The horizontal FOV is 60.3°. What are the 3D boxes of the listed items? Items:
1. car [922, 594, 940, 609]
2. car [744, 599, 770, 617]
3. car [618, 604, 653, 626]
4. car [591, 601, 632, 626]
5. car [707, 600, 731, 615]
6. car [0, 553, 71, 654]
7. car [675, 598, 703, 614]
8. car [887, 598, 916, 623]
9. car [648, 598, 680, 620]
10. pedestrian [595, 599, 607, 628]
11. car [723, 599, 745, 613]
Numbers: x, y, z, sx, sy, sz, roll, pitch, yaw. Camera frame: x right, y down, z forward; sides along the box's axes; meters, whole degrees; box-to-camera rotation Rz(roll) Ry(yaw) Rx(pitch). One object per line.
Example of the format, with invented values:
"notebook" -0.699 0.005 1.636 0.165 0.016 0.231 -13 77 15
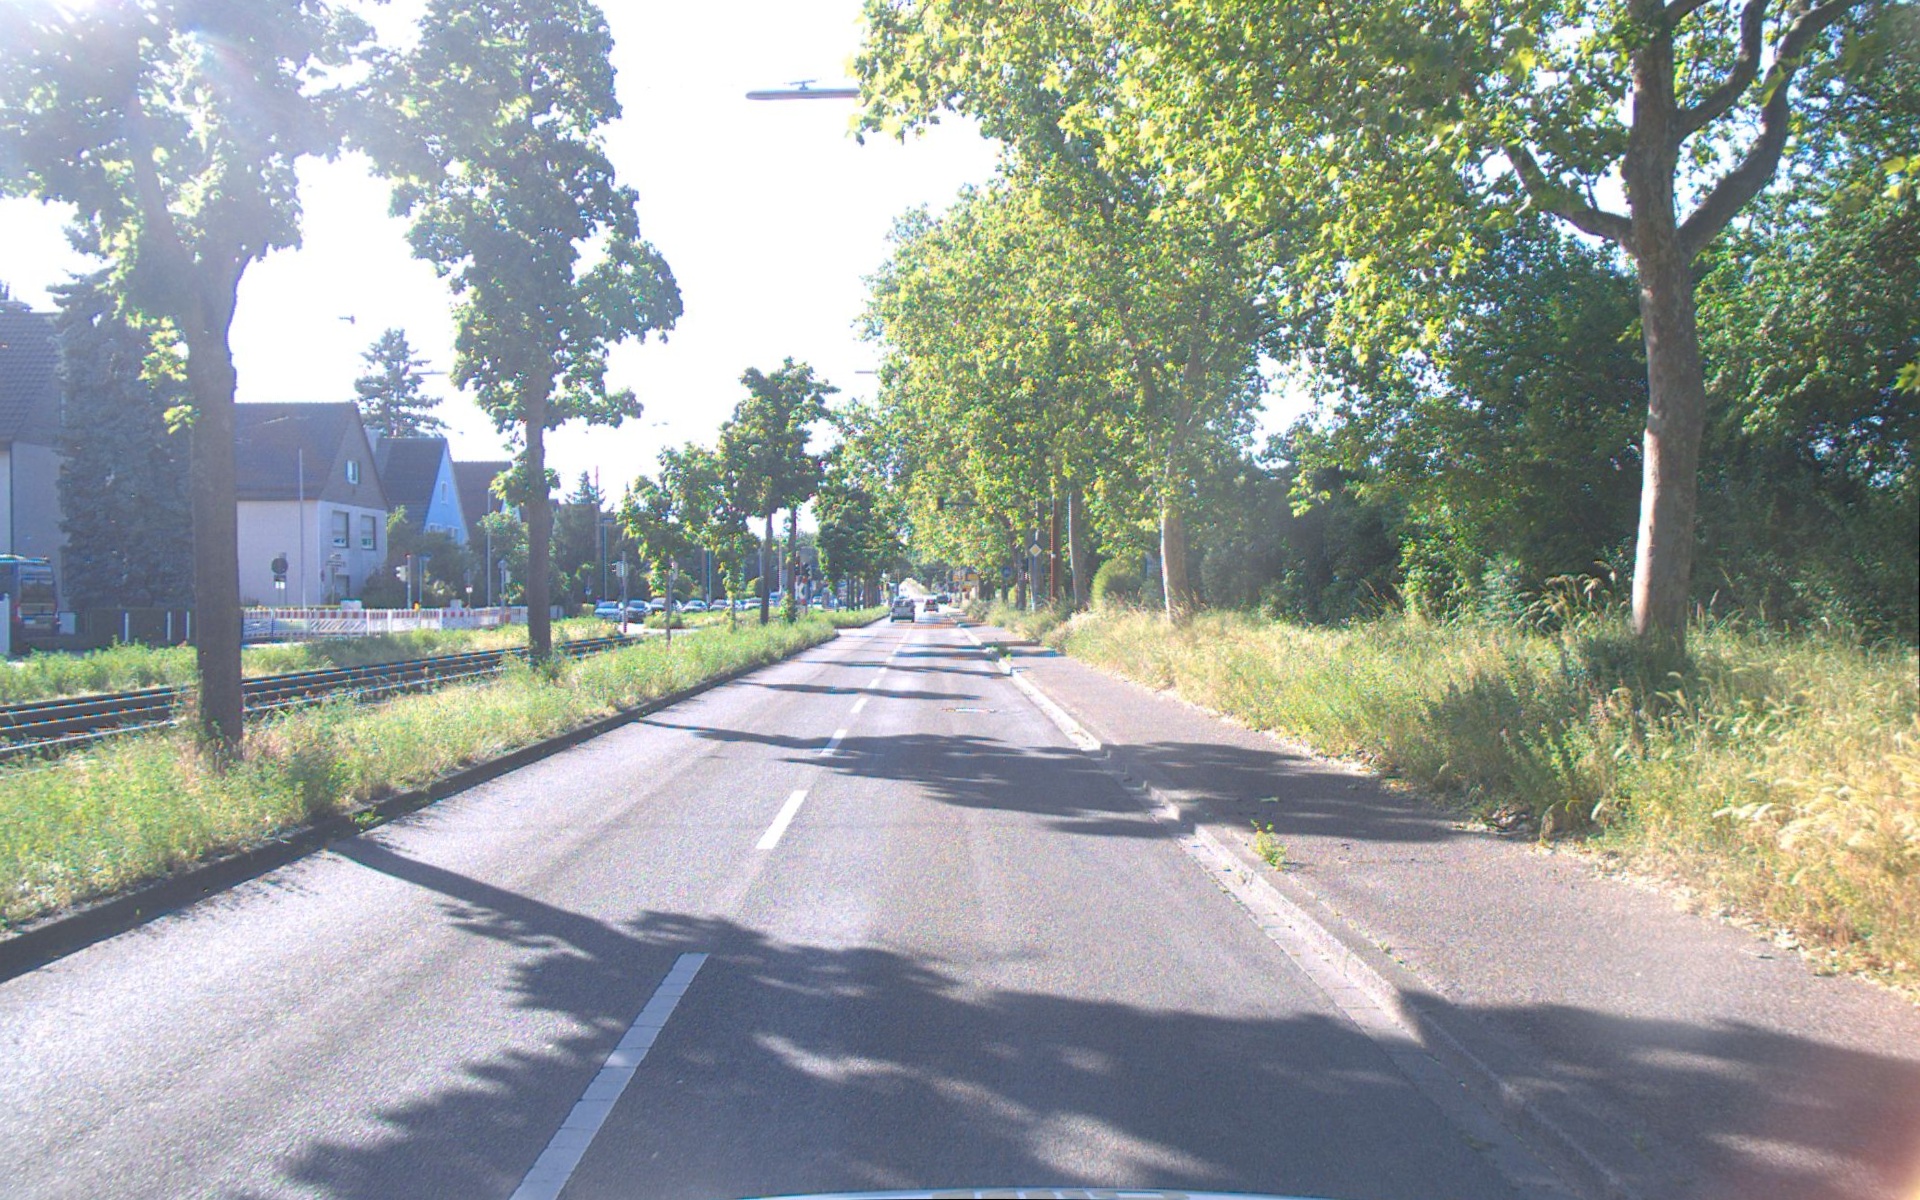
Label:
"car" -3.191 0.217 183.869 1.953 1.631 4.472 1 0 -1
"car" -18.899 0.723 153.850 1.953 1.631 4.472 1 0 -1
"car" -22.797 1.073 116.296 1.694 1.491 4.601 1 0 -1
"car" -22.630 0.873 107.484 1.822 1.569 4.226 1 0 -1
"car" -24.089 0.783 165.488 1.822 1.438 4.157 1 0 -1
"car" -27.044 0.097 44.639 4.926 2.671 2.102 0 0 -1
"car" -24.047 0.536 146.818 1.822 1.393 4.226 1 0 -1
"car" -3.850 0.695 109.002 1.822 1.629 4.226 1 0 -1
"car" -22.770 0.705 127.461 1.712 1.679 4.554 1 0 -1
"pedestrian" -25.292 0.952 116.540 0.667 2.049 0.772 1 -1 -2
"car" -24.029 0.614 175.765 1.822 1.456 4.460 1 0 -1
